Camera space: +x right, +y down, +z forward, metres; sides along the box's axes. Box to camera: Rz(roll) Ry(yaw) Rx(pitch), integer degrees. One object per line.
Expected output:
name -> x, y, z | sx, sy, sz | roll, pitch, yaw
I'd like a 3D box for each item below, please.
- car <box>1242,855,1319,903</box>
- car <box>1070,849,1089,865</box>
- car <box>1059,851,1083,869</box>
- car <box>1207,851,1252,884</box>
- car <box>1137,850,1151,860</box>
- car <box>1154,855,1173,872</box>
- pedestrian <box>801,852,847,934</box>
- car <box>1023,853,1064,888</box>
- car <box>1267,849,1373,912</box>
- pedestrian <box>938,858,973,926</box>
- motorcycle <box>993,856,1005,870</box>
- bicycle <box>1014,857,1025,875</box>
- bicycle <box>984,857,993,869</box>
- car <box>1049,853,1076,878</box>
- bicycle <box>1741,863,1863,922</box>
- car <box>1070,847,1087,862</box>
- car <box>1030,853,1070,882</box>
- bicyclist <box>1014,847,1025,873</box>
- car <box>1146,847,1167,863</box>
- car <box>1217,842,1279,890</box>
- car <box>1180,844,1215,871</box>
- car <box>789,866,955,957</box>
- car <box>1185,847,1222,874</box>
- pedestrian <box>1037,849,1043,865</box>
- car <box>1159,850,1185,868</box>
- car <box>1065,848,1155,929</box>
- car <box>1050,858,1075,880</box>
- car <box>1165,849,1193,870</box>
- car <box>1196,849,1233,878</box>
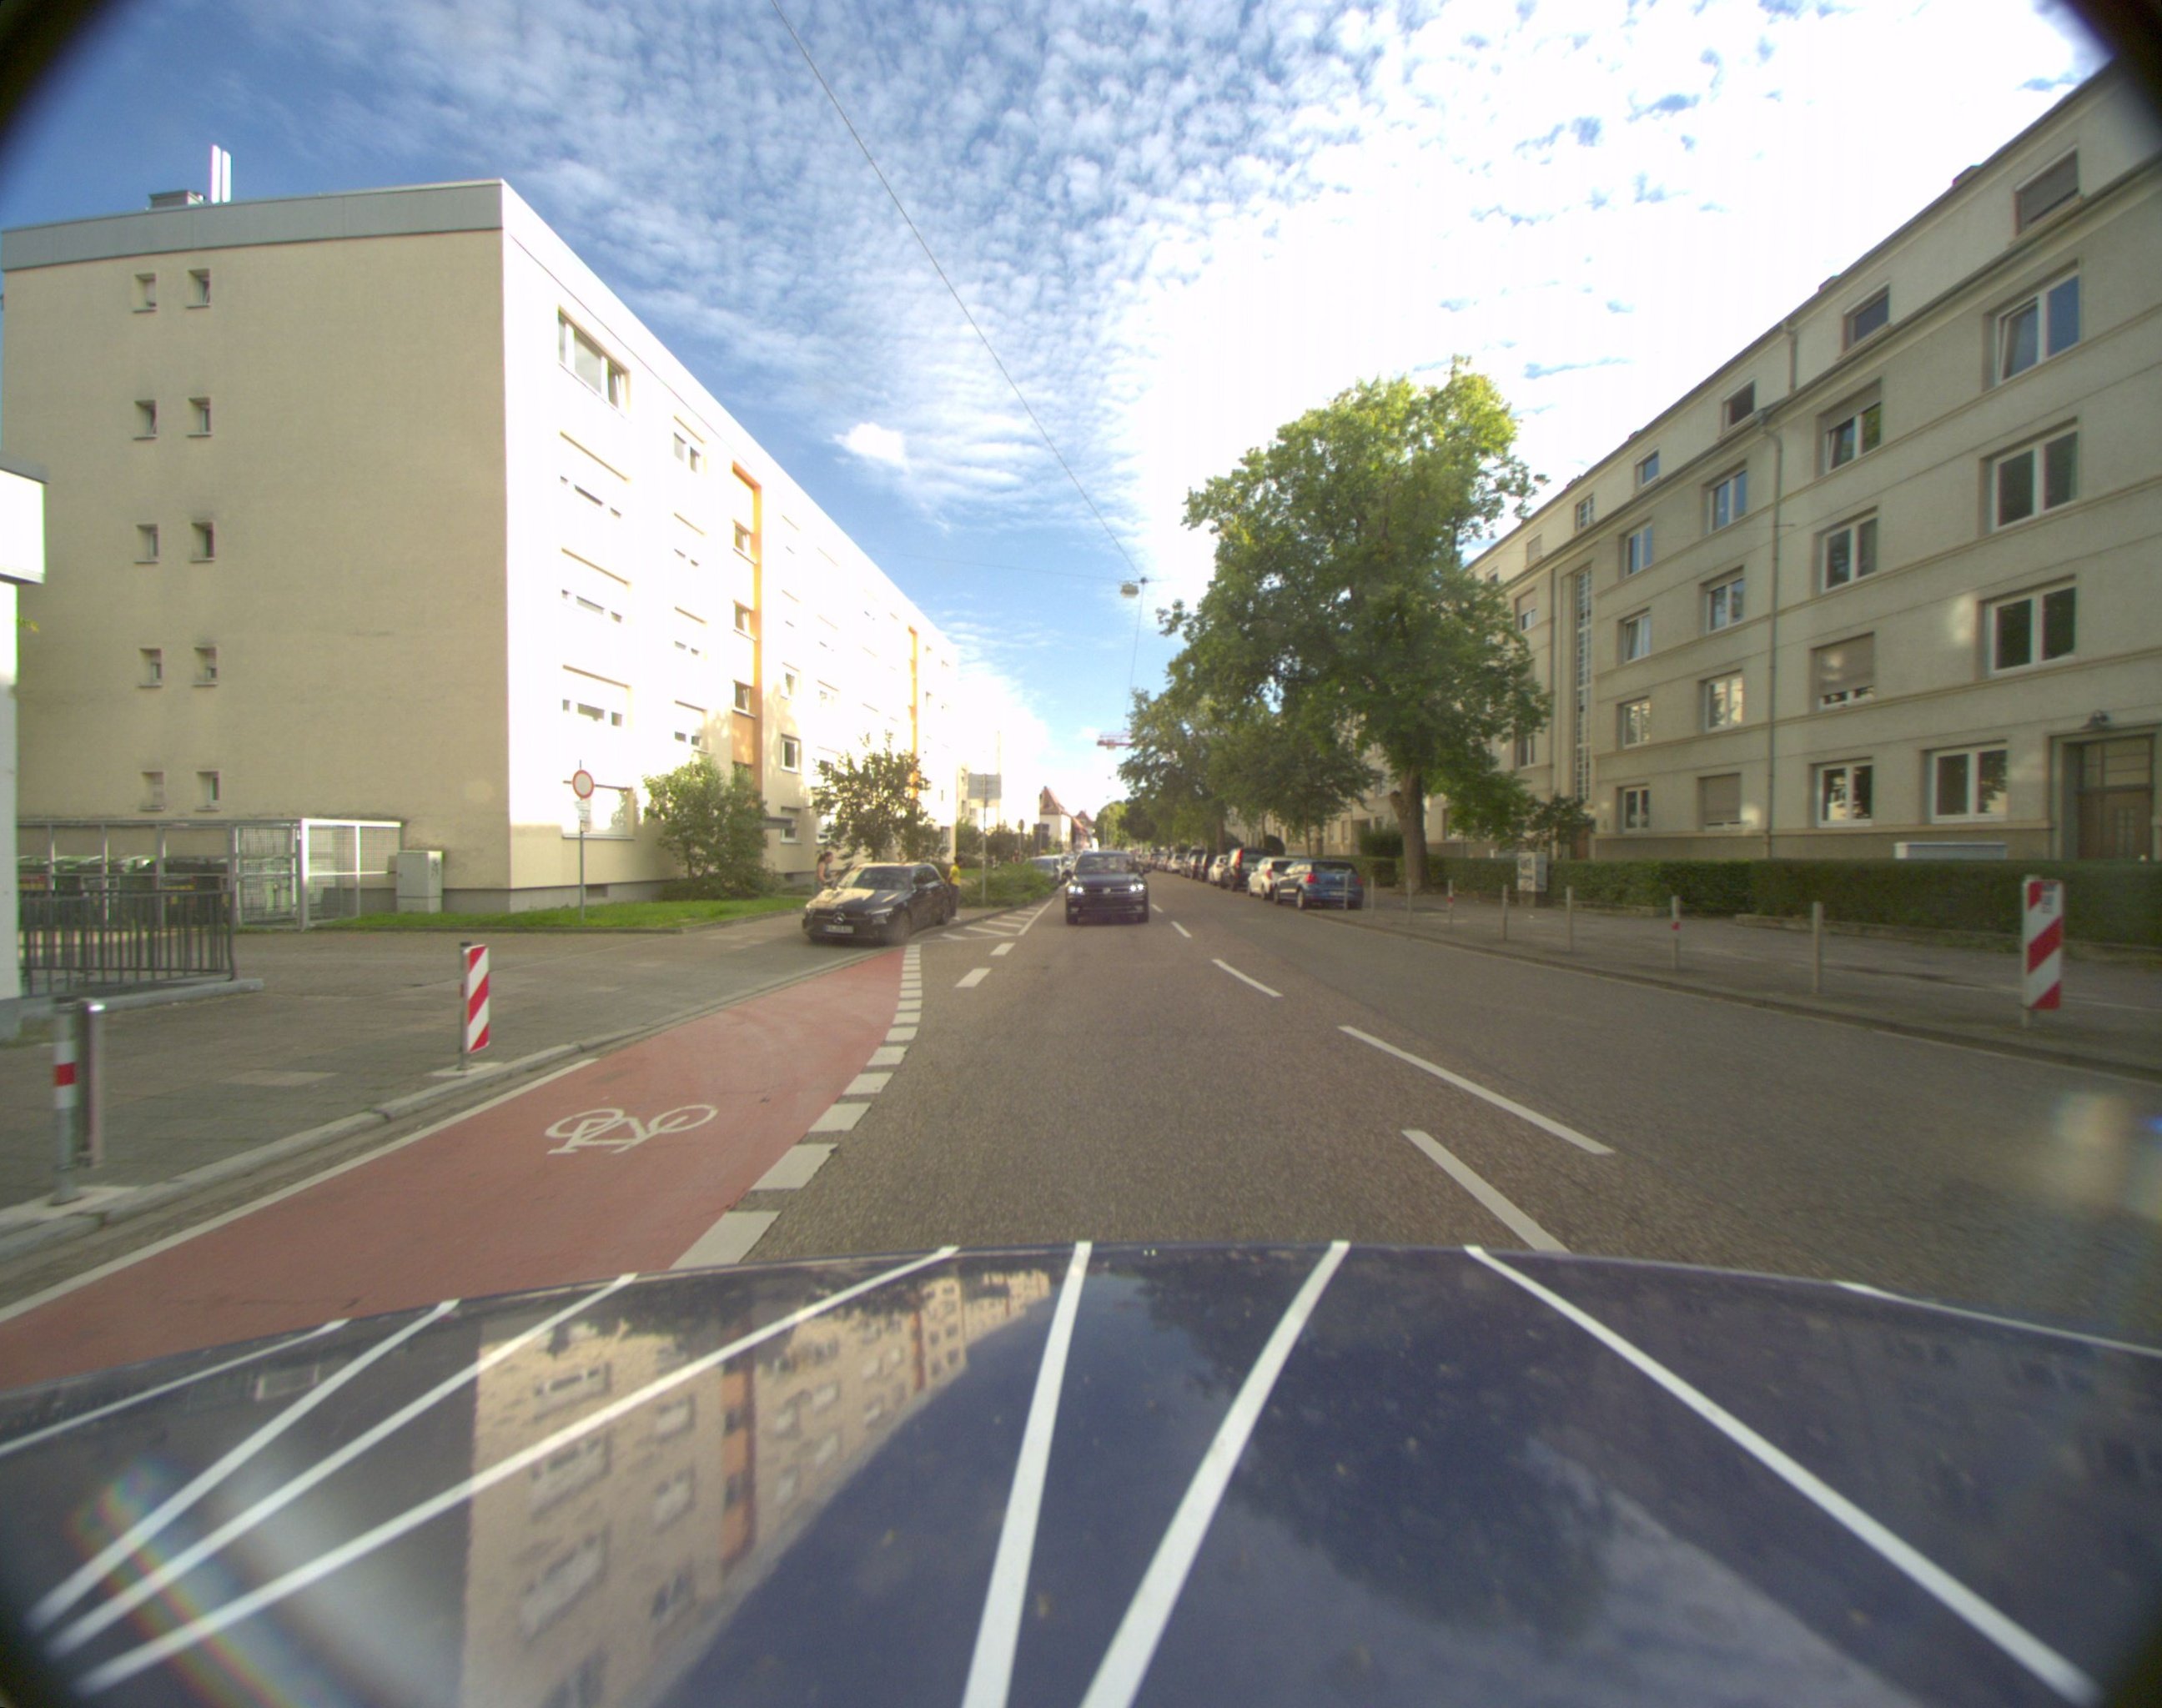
car -> 6.900, 0.803, 26.670 | 1.803, 1.485, 3.803 | 2, 0, 3
car -> -0.126, 0.258, 73.188 | 1.733, 1.452, 4.116 | 1, 1, 1
car -> -0.789, 0.458, 62.927 | 1.732, 1.479, 4.642 | 0, 0, 3
car -> 7.207, 0.625, 37.287 | 1.698, 1.484, 4.334 | 1, 0, 5
car -> 9.603, 0.164, 116.542 | 1.860, 1.477, 4.798 | 3, 1, 2
car -> 8.151, 0.910, 75.401 | 1.689, 1.472, 4.453 | 3, 1, 5
pedestrian -> -5.293, 0.792, 15.695 | 0.654, 1.636, 0.743 | -1, 1, 1
car -> -1.717, 0.739, 35.958 | 1.694, 1.519, 4.237 | -1, 0, 0
car -> 6.769, 0.686, 21.948 | 1.804, 1.611, 3.802 | 2, 0, 0
pedestrian -> -2.915, 0.870, 17.693 | 0.654, 1.530, 0.743 | 1, 1, 1
motorcycle -> -6.534, 0.714, 60.518 | 0.632, 1.038, 2.394 | 1, 0, 1
bicycle -> -4.020, 0.767, 49.713 | 0.525, 1.128, 1.929 | 0, 1, 1
bicycle -> -7.432, 0.736, 61.174 | 0.460, 0.936, 1.517 | 1, 0, 1
car -> -1.161, 0.717, 48.728 | 1.555, 1.548, 3.468 | 0, 0, 1
bicycle -> 14.176, 0.751, 14.959 | 1.872, 1.125, 0.598 | 0, 1, -2
car -> -0.293, 0.061, 81.822 | 1.733, 1.506, 4.190 | 0, 1, -1
car -> -1.655, 0.711, 41.766 | 1.693, 1.519, 4.239 | 0, 0, 4
bicyclist -> -4.008, 0.398, 49.742 | 0.625, 1.668, 0.893 | 0, 1, 1
car -> 8.524, 0.101, 85.790 | 1.882, 1.782, 4.970 | 2, 0, 1
car -> 6.976, 0.467, 32.133 | 1.727, 1.871, 4.192 | 2, 0, 1
car -> 7.776, 0.225, 50.943 | 1.803, 1.658, 4.483 | 2, 0, 3
car -> -3.905, 1.001, 15.004 | 1.764, 1.403, 4.234 | 1, 1, 5
car -> 7.315, 0.371, 45.606 | 1.704, 1.478, 3.848 | 2, 0, 3
pedestrian -> -4.438, 0.358, 81.863 | 0.543, 1.711, 0.772 | 0, 1, 7
car -> 7.691, 0.409, 64.477 | 1.618, 1.460, 4.013 | 0, 0, 0
car -> 0.712, 0.721, 17.935 | 1.859, 1.673, 4.001 | -1, 0, 3
car -> -1.331, 1.056, 55.791 | 1.733, 1.571, 4.117 | 0, 0, 0
car -> 7.698, 0.422, 60.085 | 1.743, 1.611, 3.994 | 0, 0, 0
car -> 7.288, 0.494, 41.673 | 1.556, 1.511, 3.017 | 2, 0, 3
